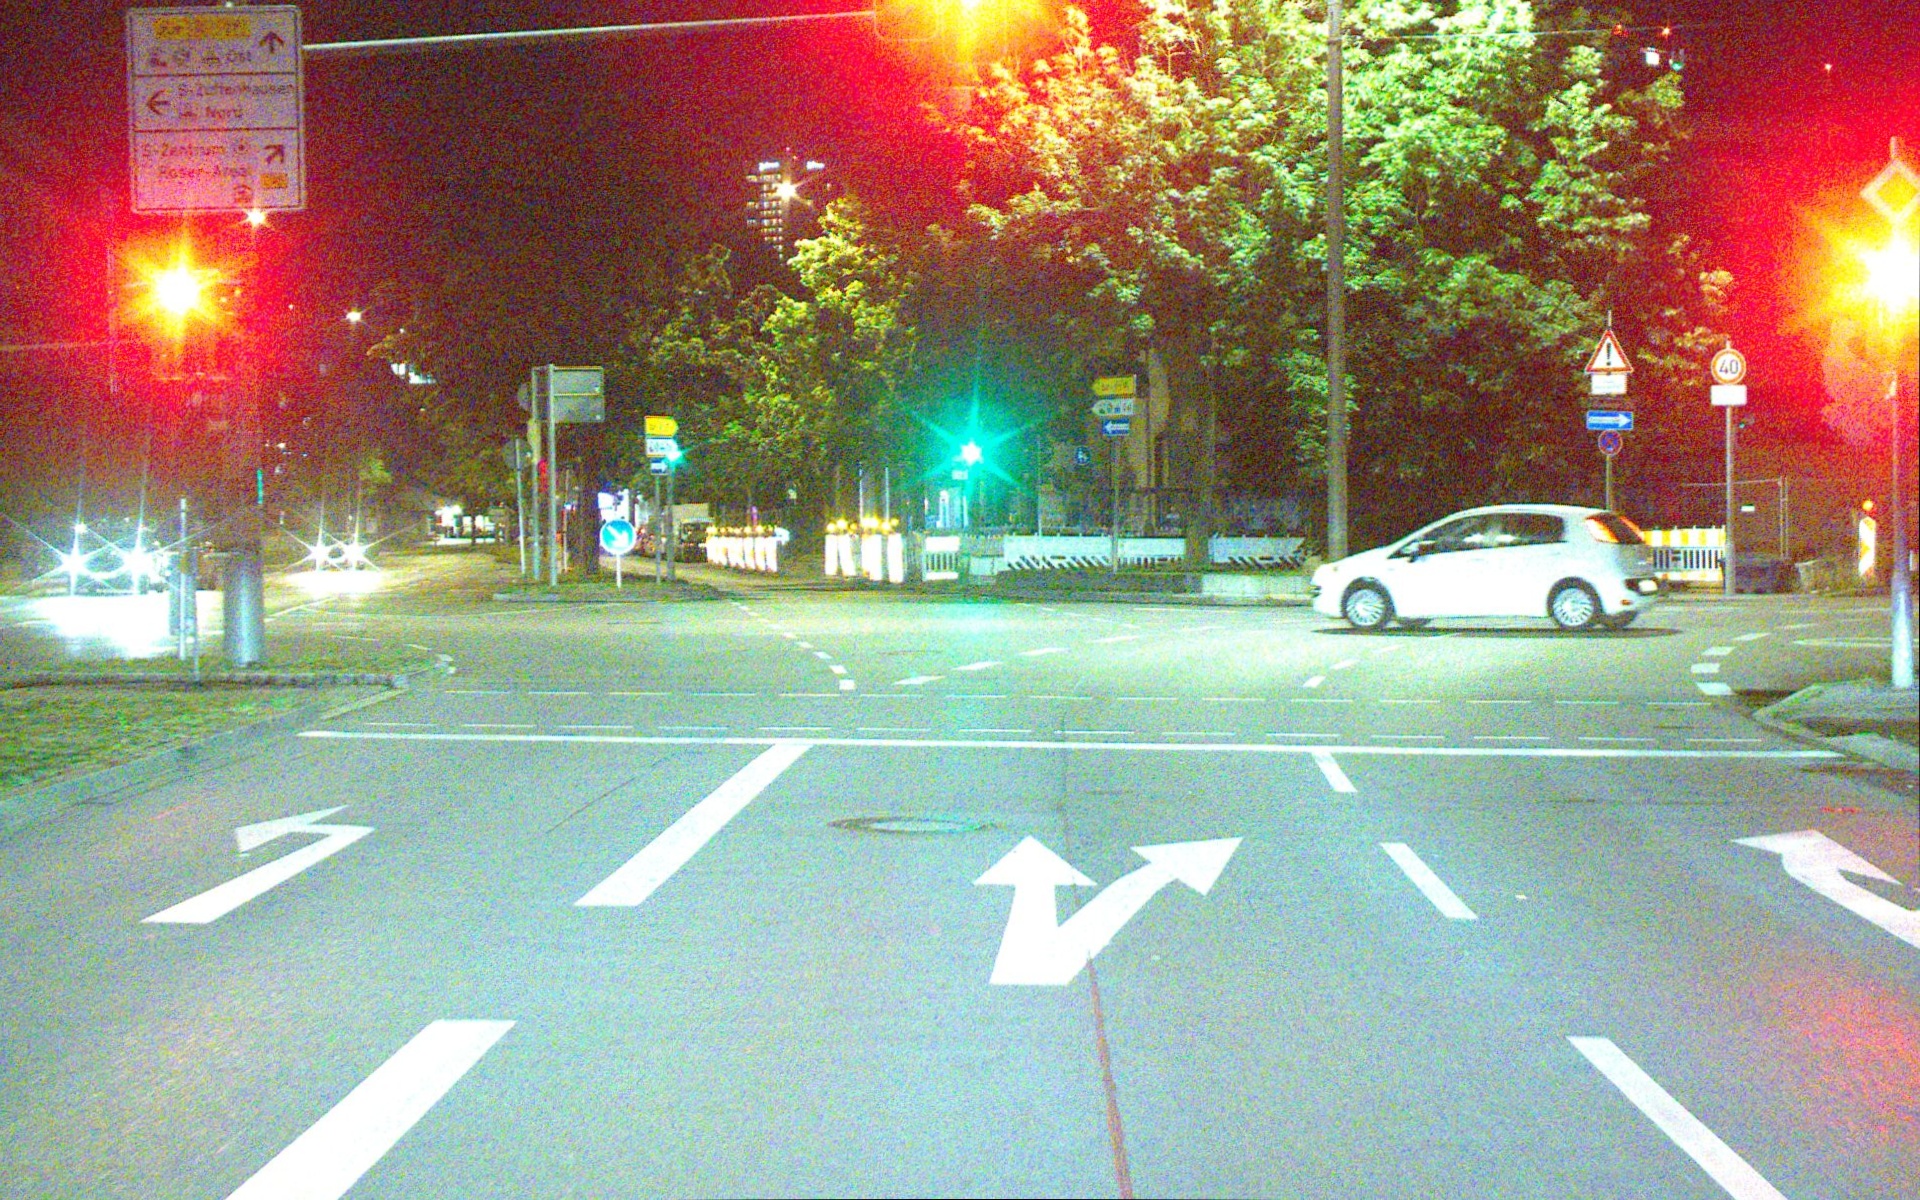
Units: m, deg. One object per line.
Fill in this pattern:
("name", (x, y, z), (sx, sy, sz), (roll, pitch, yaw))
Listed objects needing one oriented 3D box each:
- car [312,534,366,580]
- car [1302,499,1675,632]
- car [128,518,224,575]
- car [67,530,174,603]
("car", (-24.000, -1.662, 132.860), (1.757, 1.722, 3.548), (0, 1, -6))
("car", (6.194, -0.403, 40.358), (3.993, 1.486, 1.706), (0, 1, 29))
("car", (-18.452, -1.258, 81.051), (1.757, 1.317, 3.548), (0, 1, -6))
("car", (-17.961, -0.718, 73.682), (1.615, 1.509, 4.001), (0, 1, -5))
